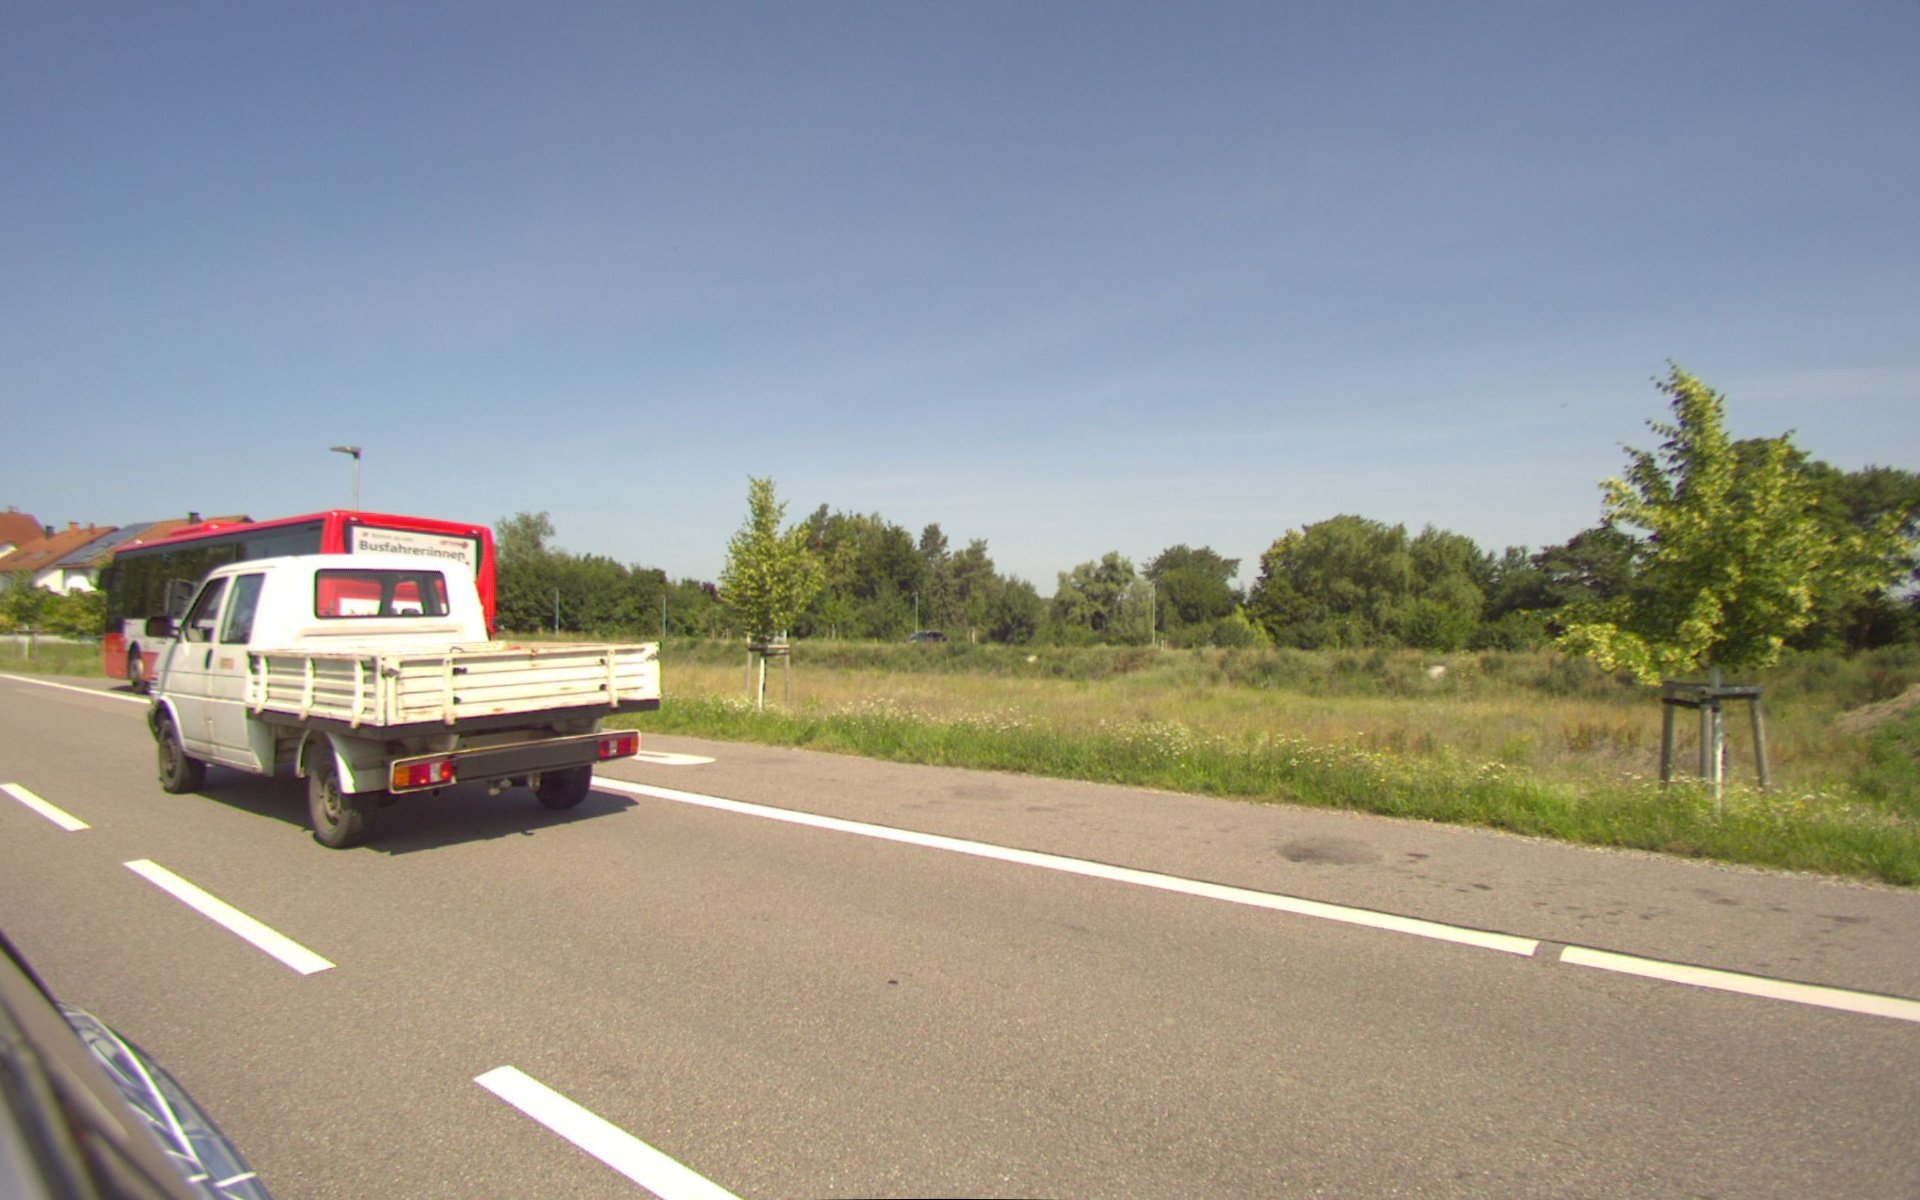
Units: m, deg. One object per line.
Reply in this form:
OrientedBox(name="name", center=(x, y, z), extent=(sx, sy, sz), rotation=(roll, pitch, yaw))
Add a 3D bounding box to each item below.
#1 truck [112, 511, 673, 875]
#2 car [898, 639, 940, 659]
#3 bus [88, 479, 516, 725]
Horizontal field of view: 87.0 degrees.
OrientedBox(name="truck", center=(-4.811, 0.585, 8.083), extent=(5.636, 2.000, 1.933), rotation=(-2, -2, 38))
OrientedBox(name="car", center=(-3.335, 4.024, 83.148), extent=(1.511, 1.547, 3.511), rotation=(-1, -3, 38))
OrientedBox(name="bus", center=(-12.579, 0.244, 18.496), extent=(12.214, 3.312, 2.767), rotation=(-2, -5, 39))
